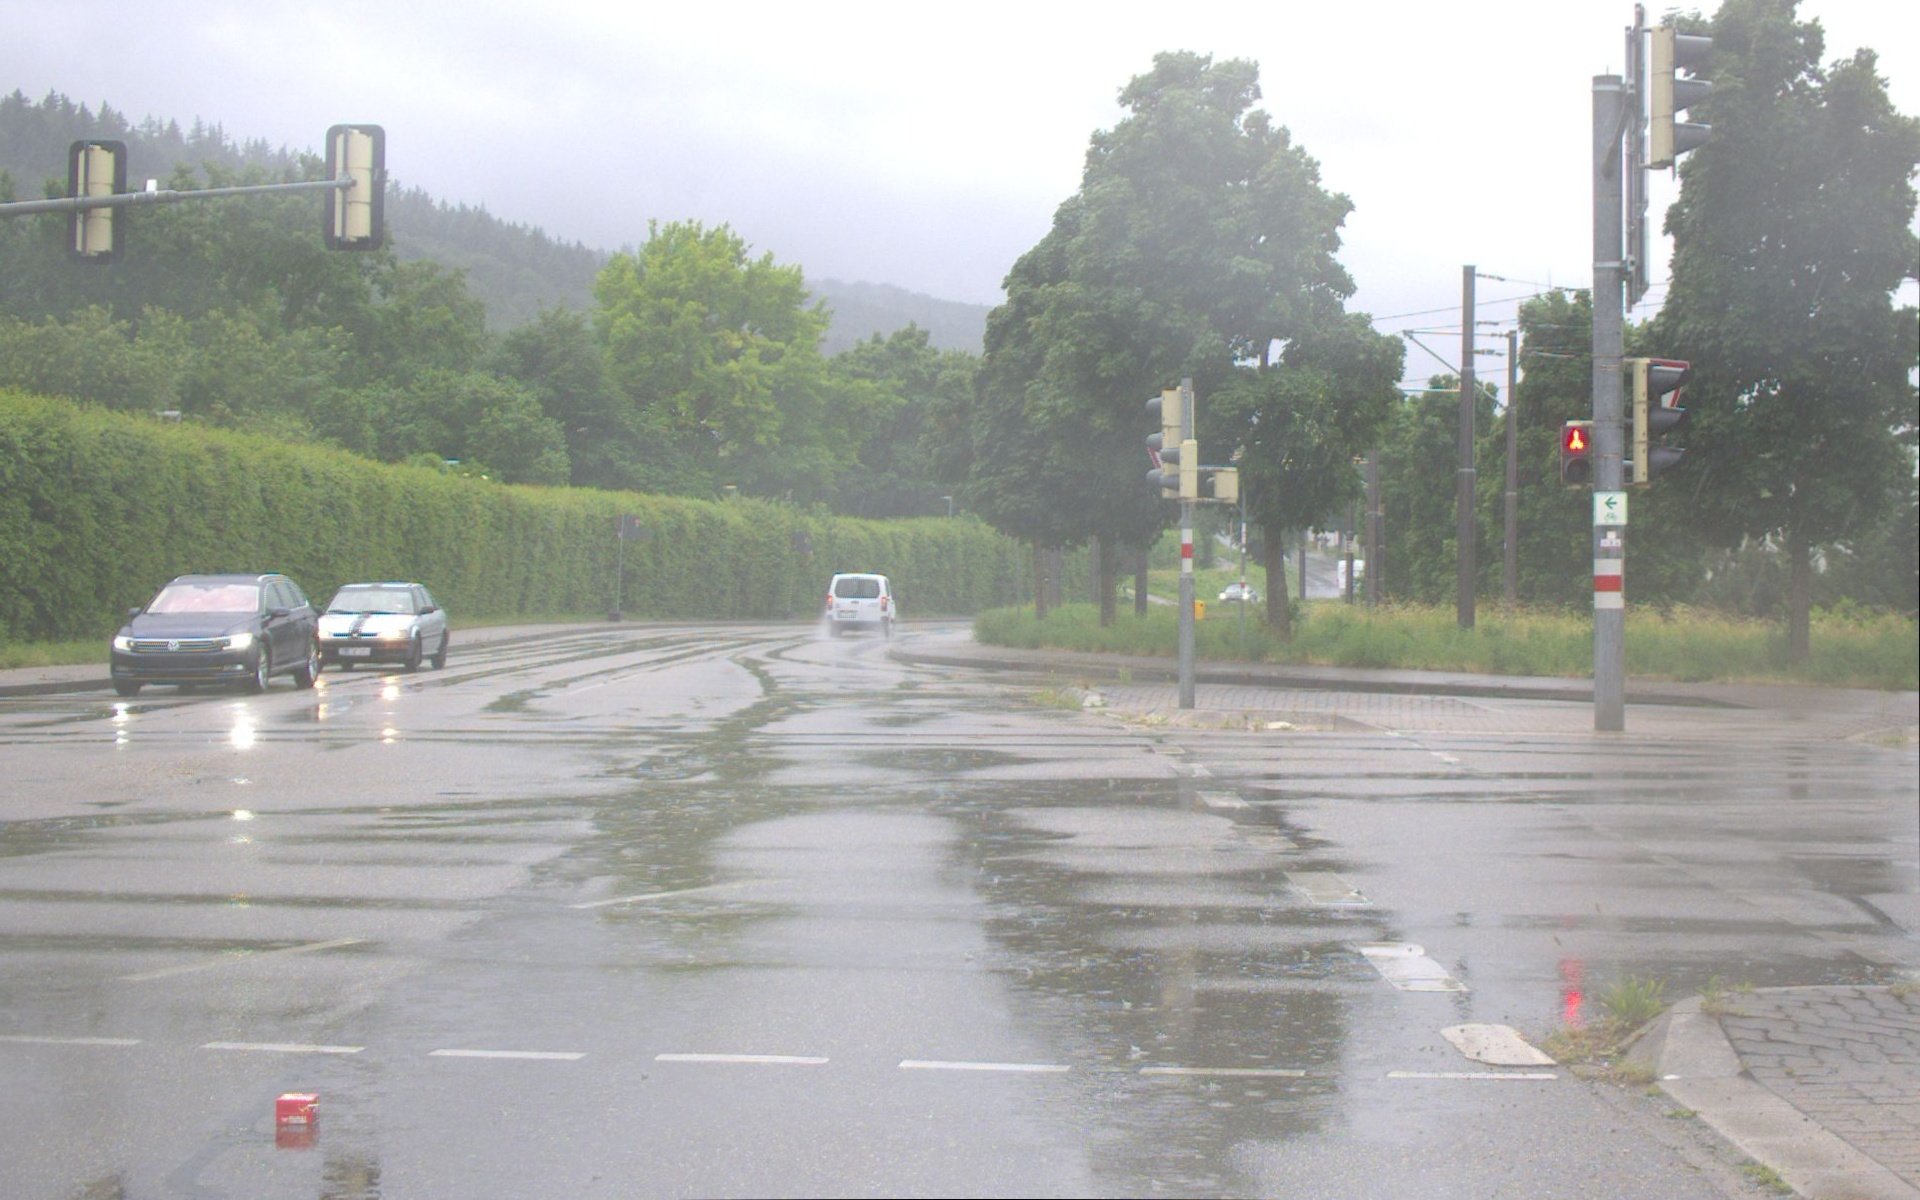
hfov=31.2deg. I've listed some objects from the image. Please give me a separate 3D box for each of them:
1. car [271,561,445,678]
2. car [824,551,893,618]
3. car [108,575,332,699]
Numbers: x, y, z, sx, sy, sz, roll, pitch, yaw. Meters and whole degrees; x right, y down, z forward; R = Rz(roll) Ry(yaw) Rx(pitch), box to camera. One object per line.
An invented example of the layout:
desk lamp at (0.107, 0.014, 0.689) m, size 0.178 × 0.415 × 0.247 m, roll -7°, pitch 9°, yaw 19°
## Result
car at (-9.362, 0.272, 53.765) m, size 2.036 × 1.702 × 4.066 m, roll 1°, pitch 1°, yaw -1°
car at (-2.946, -0.464, 99.197) m, size 1.953 × 1.897 × 4.120 m, roll 0°, pitch 1°, yaw -2°
car at (-9.280, 0.423, 43.430) m, size 1.709 × 1.461 × 4.452 m, roll 0°, pitch 1°, yaw 2°
